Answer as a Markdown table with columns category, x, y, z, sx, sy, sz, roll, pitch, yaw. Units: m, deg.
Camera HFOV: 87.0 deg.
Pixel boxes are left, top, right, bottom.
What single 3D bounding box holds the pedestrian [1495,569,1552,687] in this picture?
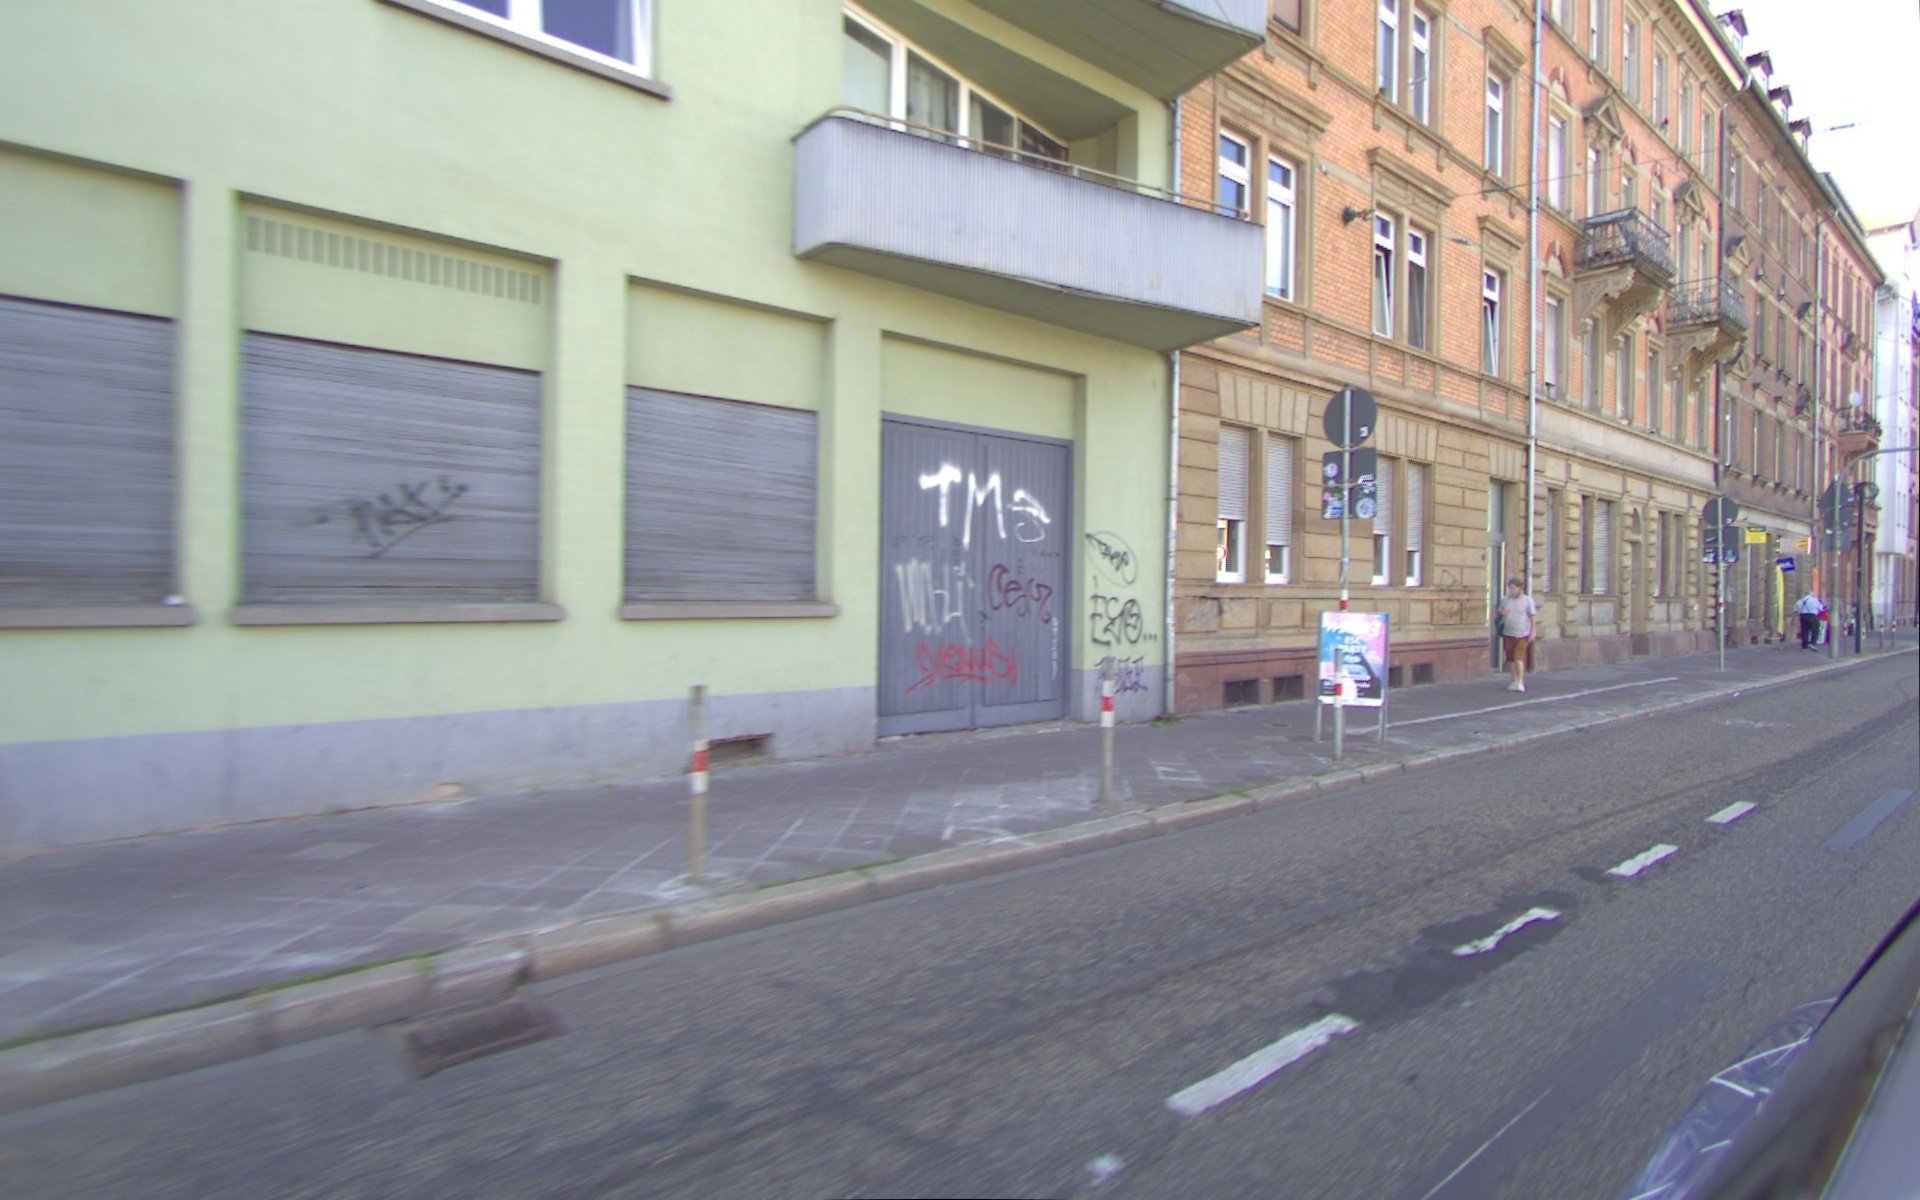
| category | x | y | z | sx | sy | sz | roll | pitch | yaw |
| --- | --- | --- | --- | --- | --- | --- | --- | --- | --- |
| pedestrian | 8.440 | 0.404 | 15.160 | 0.465 | 1.721 | 0.554 | 0 | 3 | -40 |

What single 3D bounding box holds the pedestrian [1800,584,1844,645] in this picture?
| category | x | y | z | sx | sy | sz | roll | pitch | yaw |
| --- | --- | --- | --- | --- | --- | --- | --- | --- | --- |
| pedestrian | 23.514 | 0.387 | 27.600 | 0.640 | 1.625 | 0.800 | -1 | 1 | -38 |

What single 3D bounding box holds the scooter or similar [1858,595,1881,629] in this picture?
| category | x | y | z | sx | sy | sz | roll | pitch | yaw |
| --- | --- | --- | --- | --- | --- | --- | --- | --- | --- |
| scooter or similar | 34.360 | 0.450 | 38.237 | 1.454 | 1.226 | 0.407 | -1 | 2 | -40 |

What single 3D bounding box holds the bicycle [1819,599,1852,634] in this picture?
| category | x | y | z | sx | sy | sz | roll | pitch | yaw |
| --- | --- | --- | --- | --- | --- | --- | --- | --- | --- |
| bicycle | 29.754 | 0.557 | 34.396 | 1.862 | 1.135 | 0.411 | -1 | 3 | -36 |
